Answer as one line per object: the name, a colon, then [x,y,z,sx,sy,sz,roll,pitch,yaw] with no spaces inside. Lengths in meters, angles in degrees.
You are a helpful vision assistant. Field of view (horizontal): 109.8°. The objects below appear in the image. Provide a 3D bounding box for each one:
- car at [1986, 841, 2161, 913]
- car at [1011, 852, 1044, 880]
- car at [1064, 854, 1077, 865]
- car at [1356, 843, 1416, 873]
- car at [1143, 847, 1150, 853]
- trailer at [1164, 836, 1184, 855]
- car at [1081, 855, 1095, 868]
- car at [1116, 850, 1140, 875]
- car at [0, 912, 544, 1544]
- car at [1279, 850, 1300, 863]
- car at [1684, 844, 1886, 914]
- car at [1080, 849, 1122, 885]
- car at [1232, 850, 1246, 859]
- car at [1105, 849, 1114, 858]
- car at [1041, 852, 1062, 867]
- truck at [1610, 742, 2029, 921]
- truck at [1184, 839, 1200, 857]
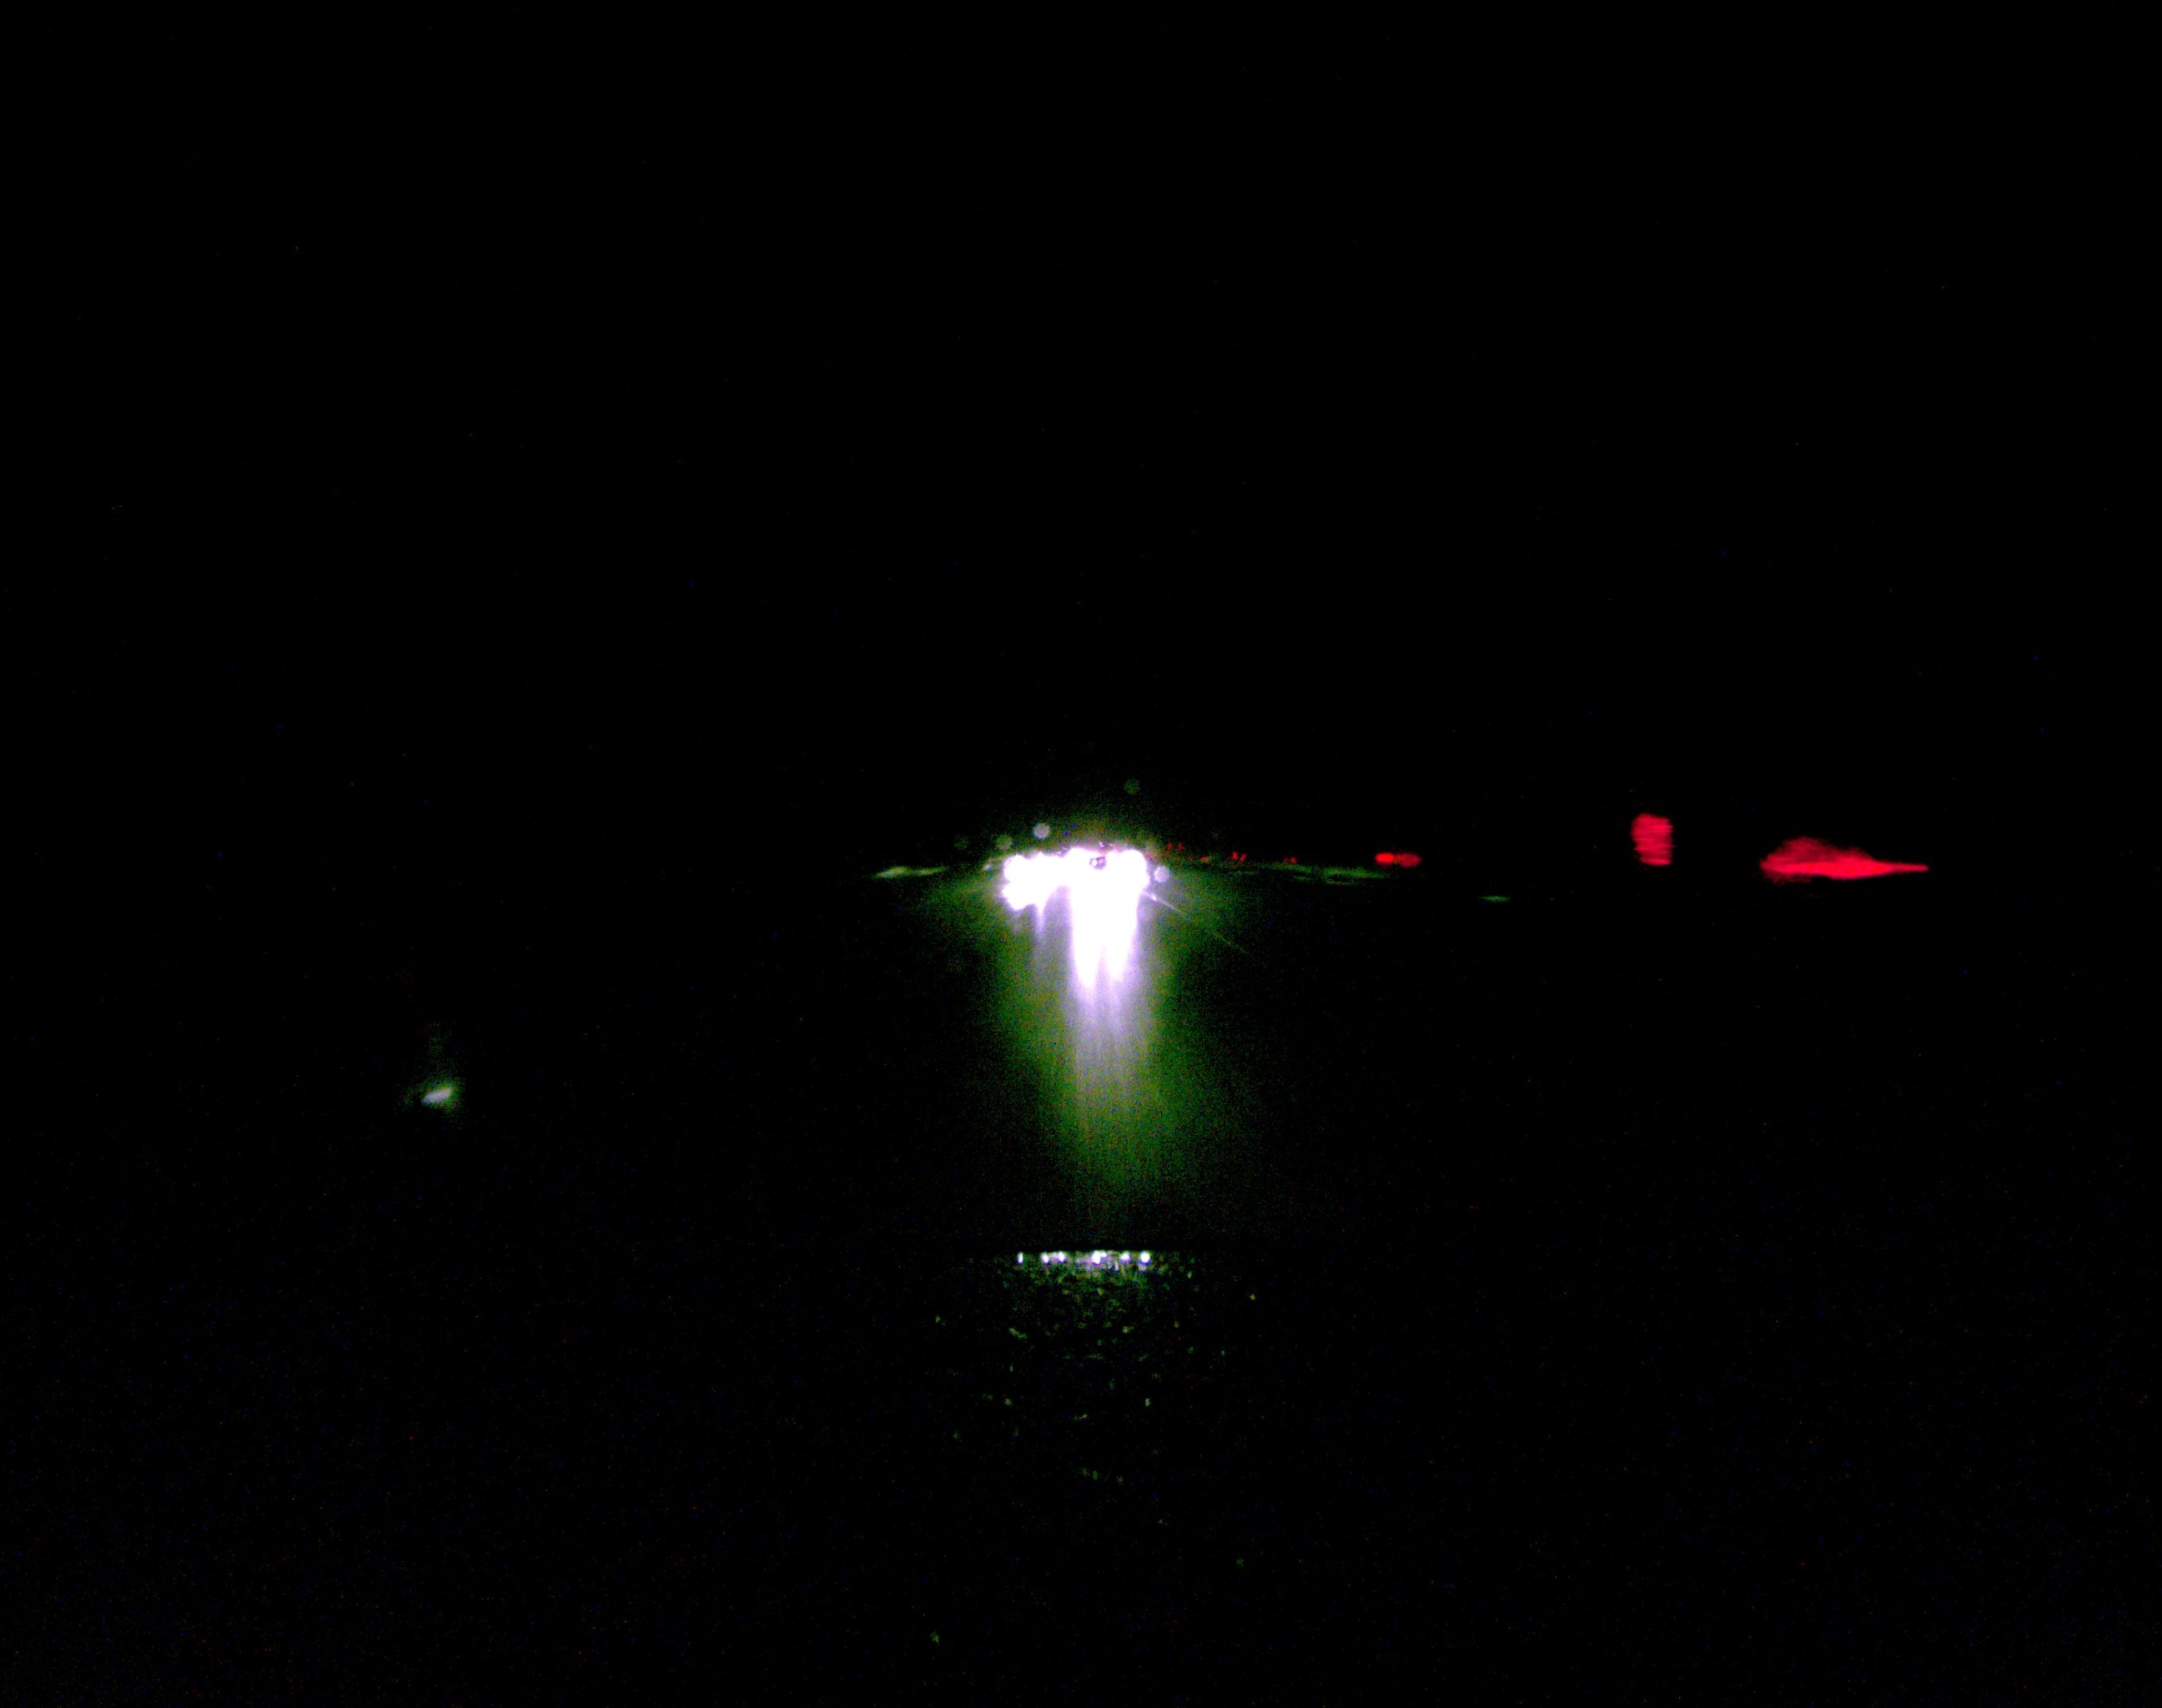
car: [26.204,0.523,19.205,1.680,1.618,4.204,-2,1,1]
car: [-3.530,0.760,50.917,1.792,1.681,3.999,-2,1,1]
car: [-1.821,0.955,130.680,1.998,1.852,3.999,-2,1,1]
car: [21.041,0.244,52.715,2.079,1.879,5.268,-2,1,1]
car: [18.602,-1.078,215.942,1.661,1.504,3.945,-2,1,1]
trailer: [26.454,-2.449,216.232,3.798,4.999,14.799,-2,1,1]
car: [0.962,0.991,100.550,1.755,1.563,3.999,-2,1,1]
car: [3.555,0.613,57.899,1.611,1.775,3.910,-2,1,1]
car: [-3.646,1.050,1.746,1.774,1.449,4.195,-2,0,0]
car: [29.067,0.273,105.882,1.766,1.679,3.999,-2,1,1]
car: [20.749,0.640,22.740,1.668,1.788,4.756,-2,1,1]
car: [0.975,0.594,38.954,1.960,1.655,4.915,-2,0,1]
car: [29.660,0.056,142.734,1.805,1.564,3.999,-2,1,1]
car: [5.763,-0.206,154.533,1.800,1.728,3.999,-2,1,1]
car: [-3.333,0.612,87.255,1.998,1.590,4.653,-2,1,2]
truck: [32.806,-0.921,36.197,3.231,6.375,17.301,-2,1,1]
truck: [35.923,-2.089,245.467,3.247,5.559,12.794,-2,1,1]
